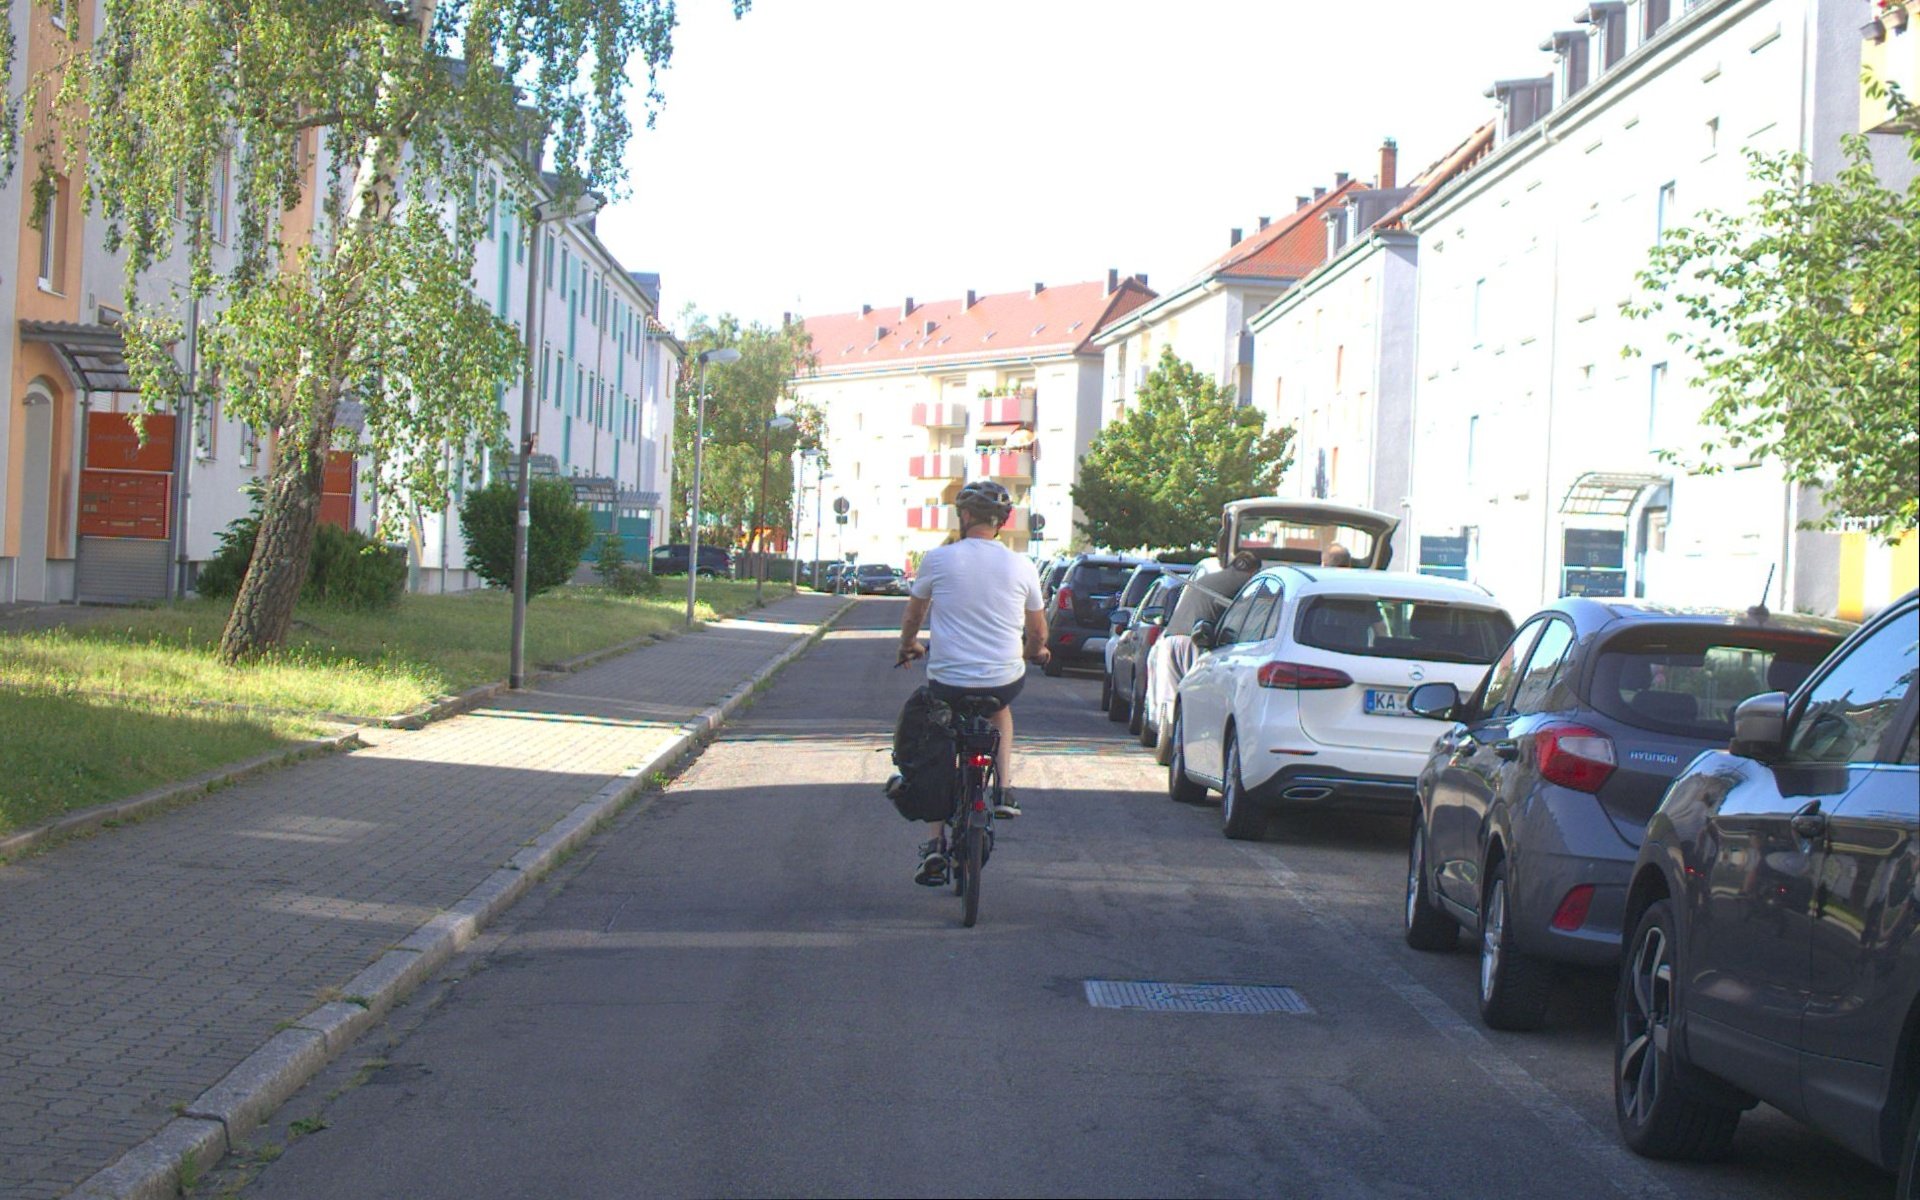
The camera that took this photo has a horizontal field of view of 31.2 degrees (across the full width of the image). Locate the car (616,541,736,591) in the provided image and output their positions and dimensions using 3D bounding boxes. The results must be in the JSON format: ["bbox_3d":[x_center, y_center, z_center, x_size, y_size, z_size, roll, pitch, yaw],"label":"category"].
[{"bbox_3d":[-10.280,-1.244,124.427,4.231,1.633,1.583,2,1,-4],"label":"car"}]

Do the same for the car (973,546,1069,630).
[{"bbox_3d":[1.317,-0.279,75.901,1.862,1.662,4.127,4,1,-1],"label":"car"}]

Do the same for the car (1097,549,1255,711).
[{"bbox_3d":[2.267,0.284,36.301,1.480,1.524,2.940,5,1,3],"label":"car"}]

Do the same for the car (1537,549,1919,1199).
[{"bbox_3d":[2.575,0.698,7.563,1.723,1.573,4.353,2,1,-2],"label":"car"}]

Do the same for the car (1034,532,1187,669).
[{"bbox_3d":[1.981,-0.025,46.475,1.783,1.642,4.469,4,1,0],"label":"car"}]

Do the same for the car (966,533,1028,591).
[{"bbox_3d":[1.171,-1.225,110.193,1.674,1.733,3.943,3,1,-3],"label":"car"}]

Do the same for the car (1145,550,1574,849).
[{"bbox_3d":[2.255,0.500,20.582,1.772,1.499,4.481,3,1,-3],"label":"car"}]

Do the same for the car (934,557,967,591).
[{"bbox_3d":[-0.444,-1.226,159.468,1.381,1.492,3.077,2,1,-3],"label":"car"}]

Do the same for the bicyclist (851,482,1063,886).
[{"bbox_3d":[-0.027,0.339,14.525,0.808,1.638,0.899,2,1,-3],"label":"bicyclist"}]

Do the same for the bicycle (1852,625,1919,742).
[{"bbox_3d":[8.498,0.759,31.156,0.740,1.043,0.238,1,1,2],"label":"bicycle"}]

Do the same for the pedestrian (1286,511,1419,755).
[{"bbox_3d":[2.765,0.226,24.272,0.819,1.681,0.604,1,1,-1],"label":"pedestrian"}]

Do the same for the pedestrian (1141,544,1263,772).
[{"bbox_3d":[1.710,0.398,24.382,0.739,1.569,0.880,2,1,-1],"label":"pedestrian"}]

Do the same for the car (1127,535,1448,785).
[{"bbox_3d":[2.406,0.381,26.497,1.994,1.607,4.995,4,1,1],"label":"car"}]

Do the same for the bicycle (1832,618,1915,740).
[{"bbox_3d":[8.512,0.727,32.065,0.403,1.083,1.299,1,1,0],"label":"bicycle"}]

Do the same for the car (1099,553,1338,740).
[{"bbox_3d":[2.323,0.376,31.827,1.693,1.486,3.985,4,1,-2],"label":"car"}]

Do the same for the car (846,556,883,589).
[{"bbox_3d":[-4.110,-1.187,147.584,1.469,1.331,3.141,2,1,-3],"label":"car"}]

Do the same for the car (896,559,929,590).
[{"bbox_3d":[-2.393,-1.289,172.357,1.469,1.511,3.077,2,1,-3],"label":"car"}]

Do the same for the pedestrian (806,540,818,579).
[{"bbox_3d":[-6.002,-1.631,139.366,0.434,1.569,0.543,2,1,-1],"label":"pedestrian"}]

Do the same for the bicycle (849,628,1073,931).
[{"bbox_3d":[-0.031,0.718,14.612,0.808,1.124,2.102,2,1,-3],"label":"bicycle"}]

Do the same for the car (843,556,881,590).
[{"bbox_3d":[-4.063,-1.112,142.681,1.469,1.331,3.141,2,1,-3],"label":"car"}]

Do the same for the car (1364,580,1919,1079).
[{"bbox_3d":[2.558,0.715,12.805,1.647,1.444,4.060,4,1,2],"label":"car"}]

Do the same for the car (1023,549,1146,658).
[{"bbox_3d":[1.830,0.016,51.573,1.641,1.493,4.156,2,1,0],"label":"car"}]
